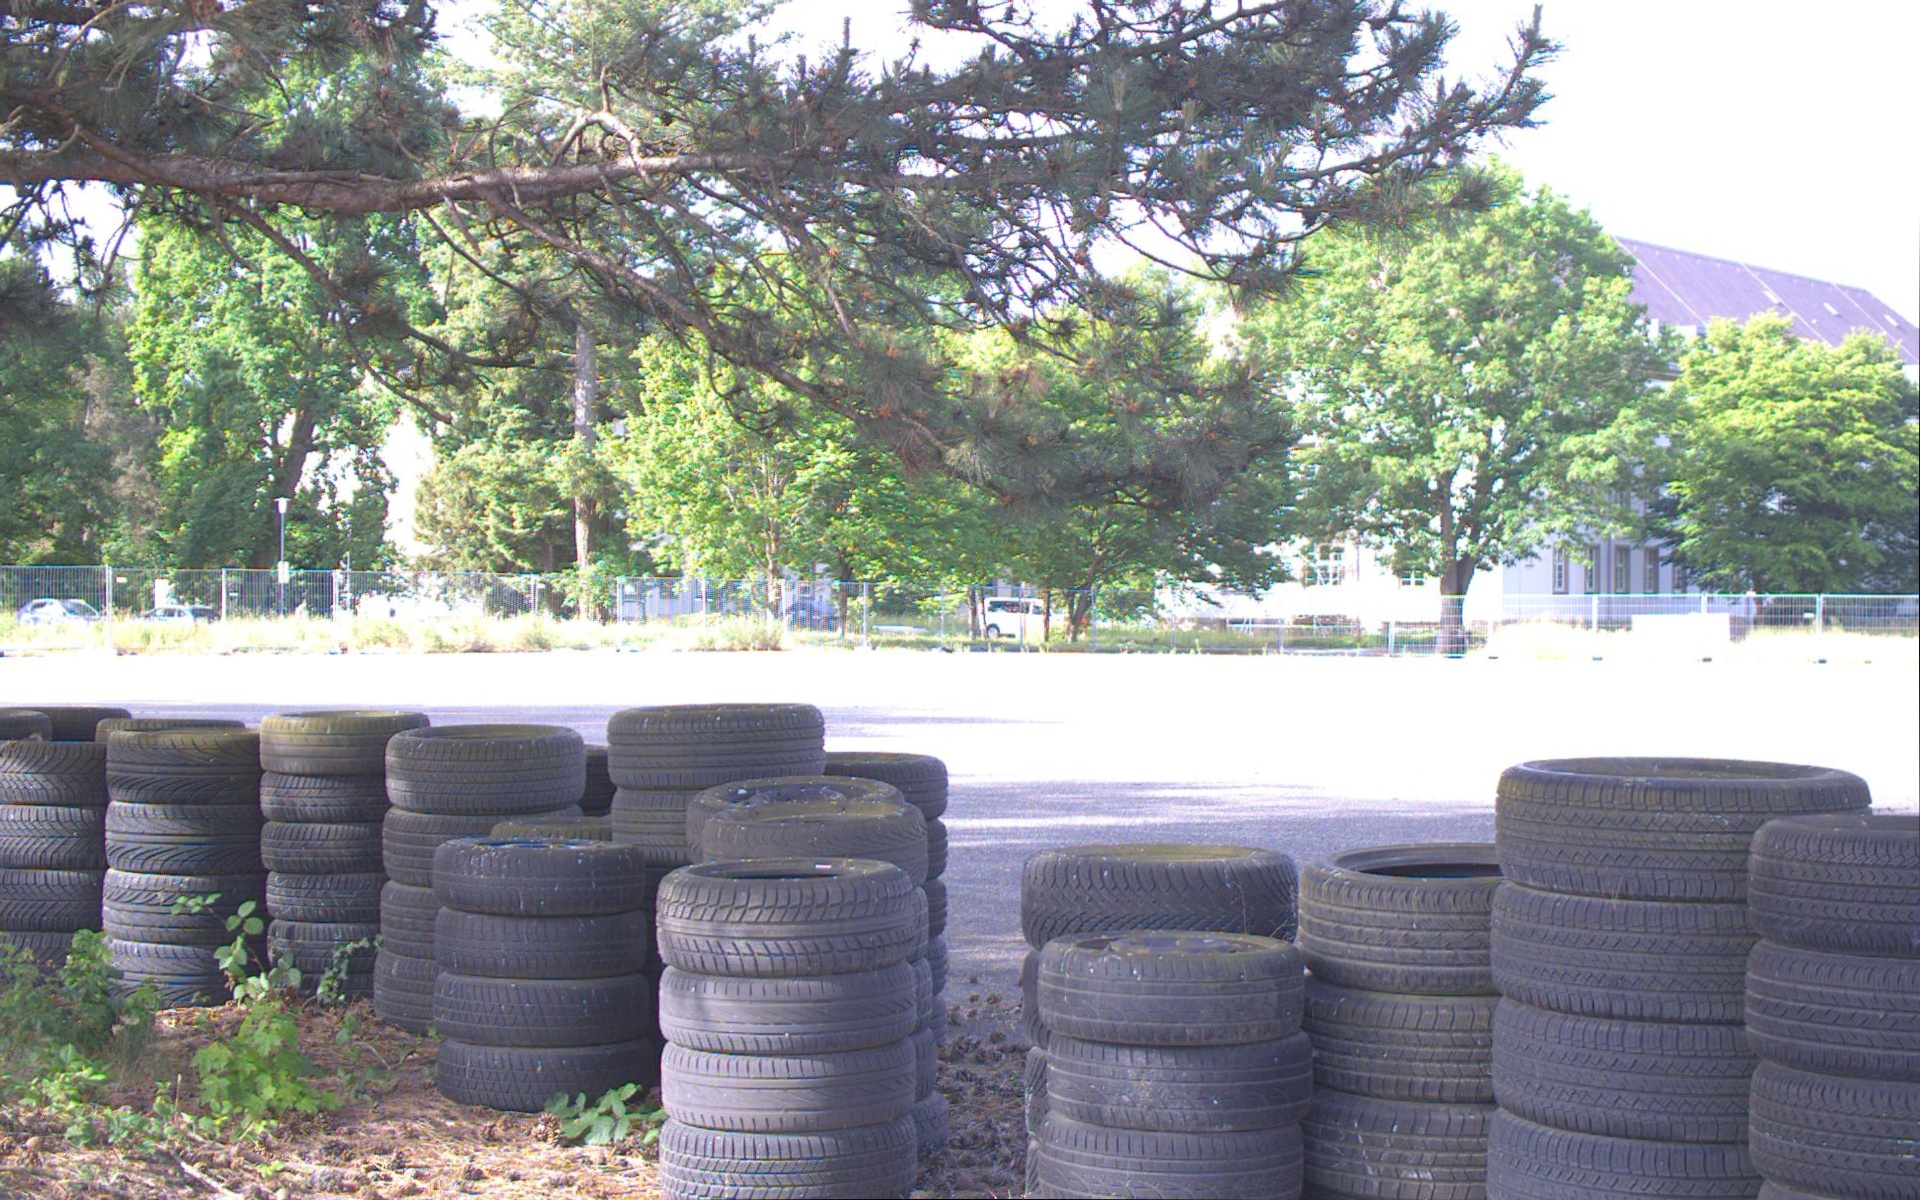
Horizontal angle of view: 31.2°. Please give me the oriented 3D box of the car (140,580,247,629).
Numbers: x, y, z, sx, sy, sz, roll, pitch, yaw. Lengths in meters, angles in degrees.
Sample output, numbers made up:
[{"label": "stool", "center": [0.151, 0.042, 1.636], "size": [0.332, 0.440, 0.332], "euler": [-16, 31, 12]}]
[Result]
[{"label": "car", "center": [-27.696, 0.160, 124.121], "size": [1.995, 1.744, 3.998], "euler": [0, 0, -44]}]

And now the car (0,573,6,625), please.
[{"label": "car", "center": [-34.087, -0.049, 115.802], "size": [3.997, 1.744, 1.995], "euler": [1, 0, 44]}]
